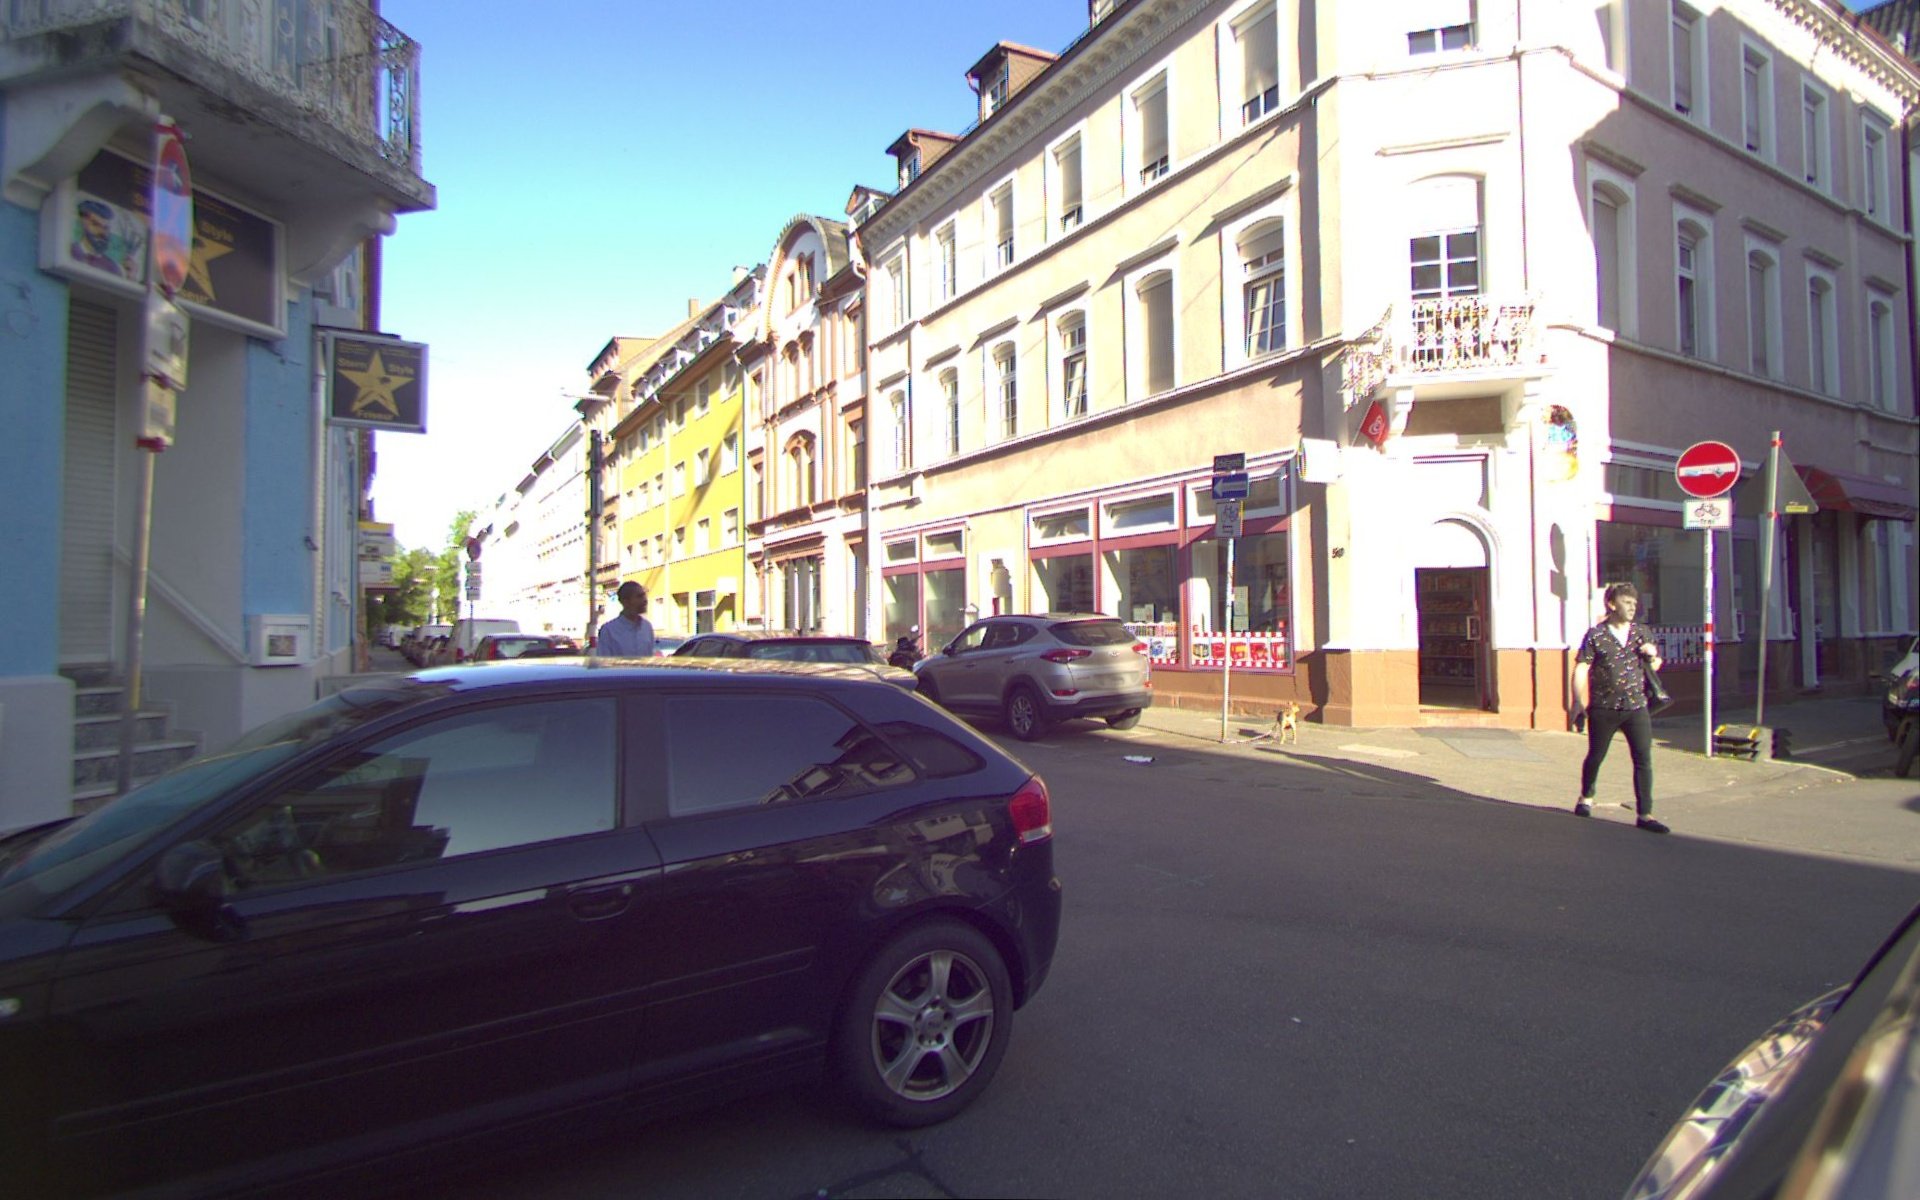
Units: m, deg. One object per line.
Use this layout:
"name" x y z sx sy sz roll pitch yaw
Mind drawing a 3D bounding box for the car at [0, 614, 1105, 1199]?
"car" -1.679 0.824 3.096 3.954 1.453 1.778 0 -2 -32

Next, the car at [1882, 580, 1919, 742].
"car" 12.979 0.666 12.100 4.283 1.839 1.755 -1 0 -31

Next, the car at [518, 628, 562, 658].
"car" -23.929 2.442 57.563 1.717 1.532 3.919 -4 0 -30

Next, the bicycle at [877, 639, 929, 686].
"bicycle" -1.347 1.449 23.621 0.446 1.022 1.645 0 -2 -32

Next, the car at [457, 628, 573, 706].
"car" -9.557 1.372 21.588 1.722 1.496 3.983 2 -3 -31

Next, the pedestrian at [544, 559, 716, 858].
"pedestrian" -2.228 0.697 6.867 0.763 1.873 0.773 -3 -3 24

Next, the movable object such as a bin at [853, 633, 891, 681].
"movable object such as a bin" -2.175 1.396 24.903 0.654 1.131 0.718 -1 -3 -30

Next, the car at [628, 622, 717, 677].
"car" -9.112 1.525 31.911 1.717 1.471 3.919 -4 0 -30

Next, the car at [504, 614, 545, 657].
"car" -27.147 2.212 63.002 1.810 2.462 3.919 -4 0 -30

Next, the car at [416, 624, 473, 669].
"car" -20.334 1.817 39.843 1.717 1.532 3.919 -4 0 -30

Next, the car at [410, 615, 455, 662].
"car" -25.934 1.888 49.690 1.717 2.079 3.919 -4 0 -30

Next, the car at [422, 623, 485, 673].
"car" -18.045 1.671 35.969 1.717 1.532 3.919 -4 0 -30

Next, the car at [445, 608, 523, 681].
"car" -14.041 1.271 29.731 1.799 1.972 4.557 0 -2 -28

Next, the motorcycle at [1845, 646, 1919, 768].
"motorcycle" 10.034 1.039 10.267 1.954 1.100 0.722 -1 0 -20

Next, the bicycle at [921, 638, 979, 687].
"bicycle" -0.229 1.351 22.223 0.446 1.022 1.645 0 -2 -32

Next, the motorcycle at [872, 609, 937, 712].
"motorcycle" -0.936 1.028 17.766 0.836 1.670 2.332 -2 -2 3

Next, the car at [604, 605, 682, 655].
"car" -11.155 1.041 35.480 1.717 1.532 3.919 -4 0 -30

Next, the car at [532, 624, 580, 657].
"car" -21.183 2.103 52.986 1.717 1.532 3.919 -4 0 -30

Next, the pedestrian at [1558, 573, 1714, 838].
"pedestrian" 4.988 0.706 7.543 0.820 1.815 0.981 0 1 26

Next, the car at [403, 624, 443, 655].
"car" -29.201 2.138 54.944 1.717 1.532 3.919 -4 0 -30

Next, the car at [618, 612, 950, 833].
"car" -1.764 0.894 8.942 1.643 1.472 3.882 0 -2 -30

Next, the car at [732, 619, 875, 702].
"car" -3.519 1.274 22.227 1.717 1.532 3.919 -4 0 -30

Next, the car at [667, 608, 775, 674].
"car" -6.570 1.099 27.511 1.717 1.532 3.919 -4 0 -30

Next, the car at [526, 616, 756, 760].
"car" -4.144 0.978 12.635 1.722 1.453 4.486 2 -3 -31

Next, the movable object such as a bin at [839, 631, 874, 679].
"movable object such as a bin" -2.615 1.385 25.653 0.667 1.173 0.569 0 -3 -33

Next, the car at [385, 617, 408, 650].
"car" -54.400 3.217 97.622 1.717 2.952 4.195 -4 0 -30

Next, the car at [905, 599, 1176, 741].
"car" 0.983 0.918 14.556 1.820 1.653 4.075 -3 -1 -30

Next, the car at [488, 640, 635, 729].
"car" -6.857 1.336 17.143 1.722 1.244 4.167 -1 -2 -30
